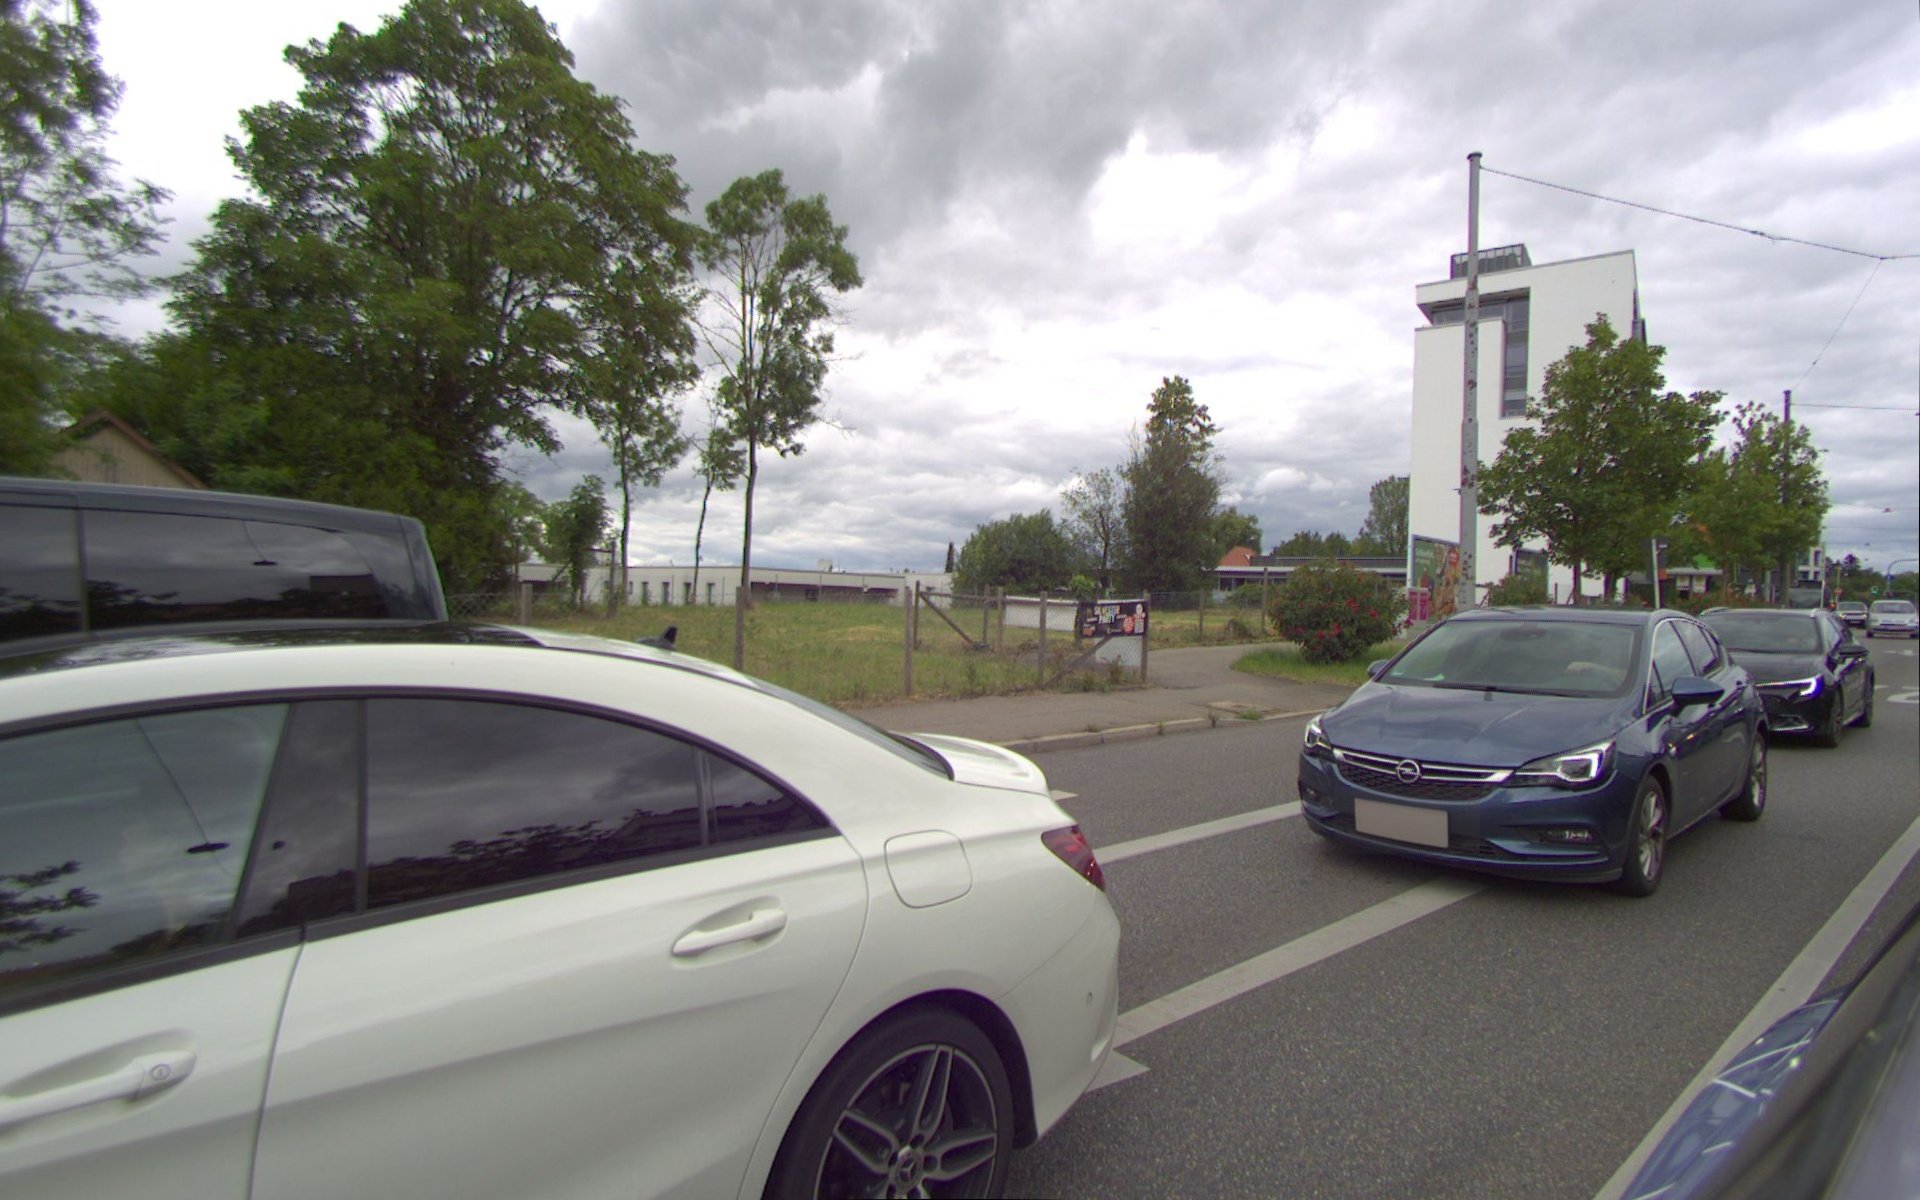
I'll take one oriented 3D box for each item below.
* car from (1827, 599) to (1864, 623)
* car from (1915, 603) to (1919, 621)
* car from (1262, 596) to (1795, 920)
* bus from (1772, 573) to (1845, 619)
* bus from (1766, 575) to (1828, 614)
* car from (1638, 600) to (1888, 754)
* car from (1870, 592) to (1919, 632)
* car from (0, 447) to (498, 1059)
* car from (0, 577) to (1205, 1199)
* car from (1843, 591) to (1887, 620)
[{"bbox_3d":[71.902,0.859,82.249,1.990,1.844,3.945,2,2,38],"label":"car"},{"bbox_3d":[89.308,1.151,91.389,3.932,1.621,1.996,1,1,8],"label":"car"},{"bbox_3d":[3.804,0.692,6.480,3.931,1.428,1.825,0,0,-42],"label":"car"},{"bbox_3d":[53.948,-0.305,64.572,2.952,2.664,11.986,0,1,37],"label":"bus"},{"bbox_3d":[61.415,-0.439,74.472,2.952,2.664,12.751,0,1,37],"label":"bus"},{"bbox_3d":[9.369,0.745,11.705,3.854,1.475,1.663,0,0,-42],"label":"car"},{"bbox_3d":[40.472,0.486,43.497,1.844,1.637,3.728,-1,-1,40],"label":"car"},{"bbox_3d":[-4.212,0.473,3.256,4.627,1.863,1.952,0,-1,-41],"label":"car"},{"bbox_3d":[-1.543,0.696,1.813,4.300,1.451,1.652,0,1,-41],"label":"car"},{"bbox_3d":[62.341,0.358,69.769,1.842,1.910,4.082,-1,-1,36],"label":"car"}]
